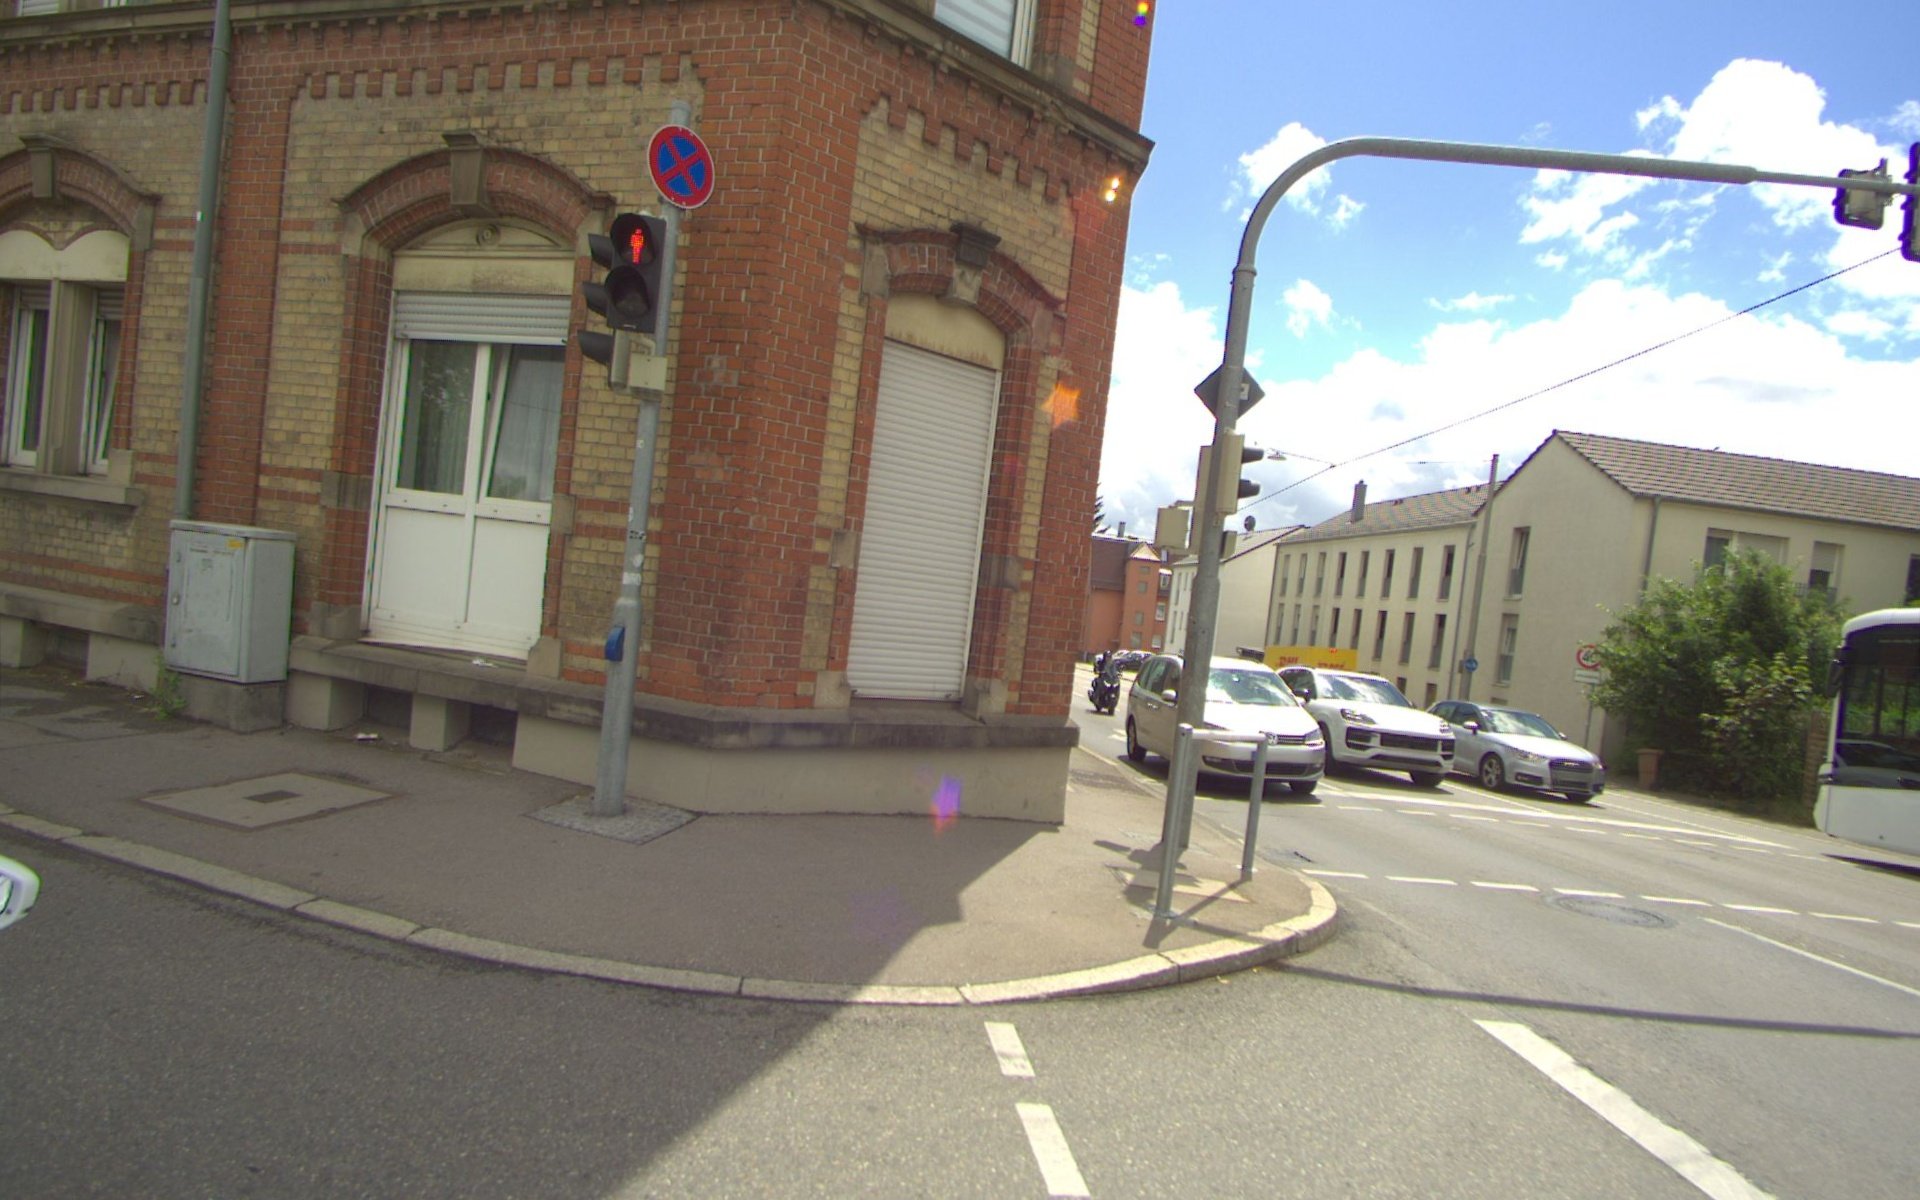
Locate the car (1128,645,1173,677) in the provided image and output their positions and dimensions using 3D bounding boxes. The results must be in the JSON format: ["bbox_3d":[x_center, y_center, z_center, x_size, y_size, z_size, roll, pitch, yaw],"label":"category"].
[{"bbox_3d":[12.296,3.924,65.252,1.962,1.737,4.615,6,-2,1],"label":"car"}]

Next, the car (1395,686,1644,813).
[{"bbox_3d":[9.506,2.474,17.521,1.823,1.493,3.971,8,-2,-3],"label":"car"}]

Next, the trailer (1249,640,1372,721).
[{"bbox_3d":[15.013,3.417,43.676,2.941,2.908,6.737,7,-3,3],"label":"trailer"}]

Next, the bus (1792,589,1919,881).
[{"bbox_3d":[12.922,1.518,7.249,2.915,3.425,12.436,7,-3,-2],"label":"bus"}]

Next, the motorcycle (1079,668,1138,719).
[{"bbox_3d":[3.974,2.500,27.262,0.926,1.061,3.325,7,-2,-1],"label":"motorcycle"}]

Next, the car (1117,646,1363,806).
[{"bbox_3d":[3.743,1.627,14.434,1.963,1.738,4.612,3,-2,-3],"label":"car"}]

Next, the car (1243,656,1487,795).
[{"bbox_3d":[6.638,1.982,17.178,1.964,1.737,4.612,6,-2,-3],"label":"car"}]

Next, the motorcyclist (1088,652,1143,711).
[{"bbox_3d":[4.127,2.153,26.824,1.062,1.395,1.418,7,-1,-2],"label":"motorcyclist"}]
